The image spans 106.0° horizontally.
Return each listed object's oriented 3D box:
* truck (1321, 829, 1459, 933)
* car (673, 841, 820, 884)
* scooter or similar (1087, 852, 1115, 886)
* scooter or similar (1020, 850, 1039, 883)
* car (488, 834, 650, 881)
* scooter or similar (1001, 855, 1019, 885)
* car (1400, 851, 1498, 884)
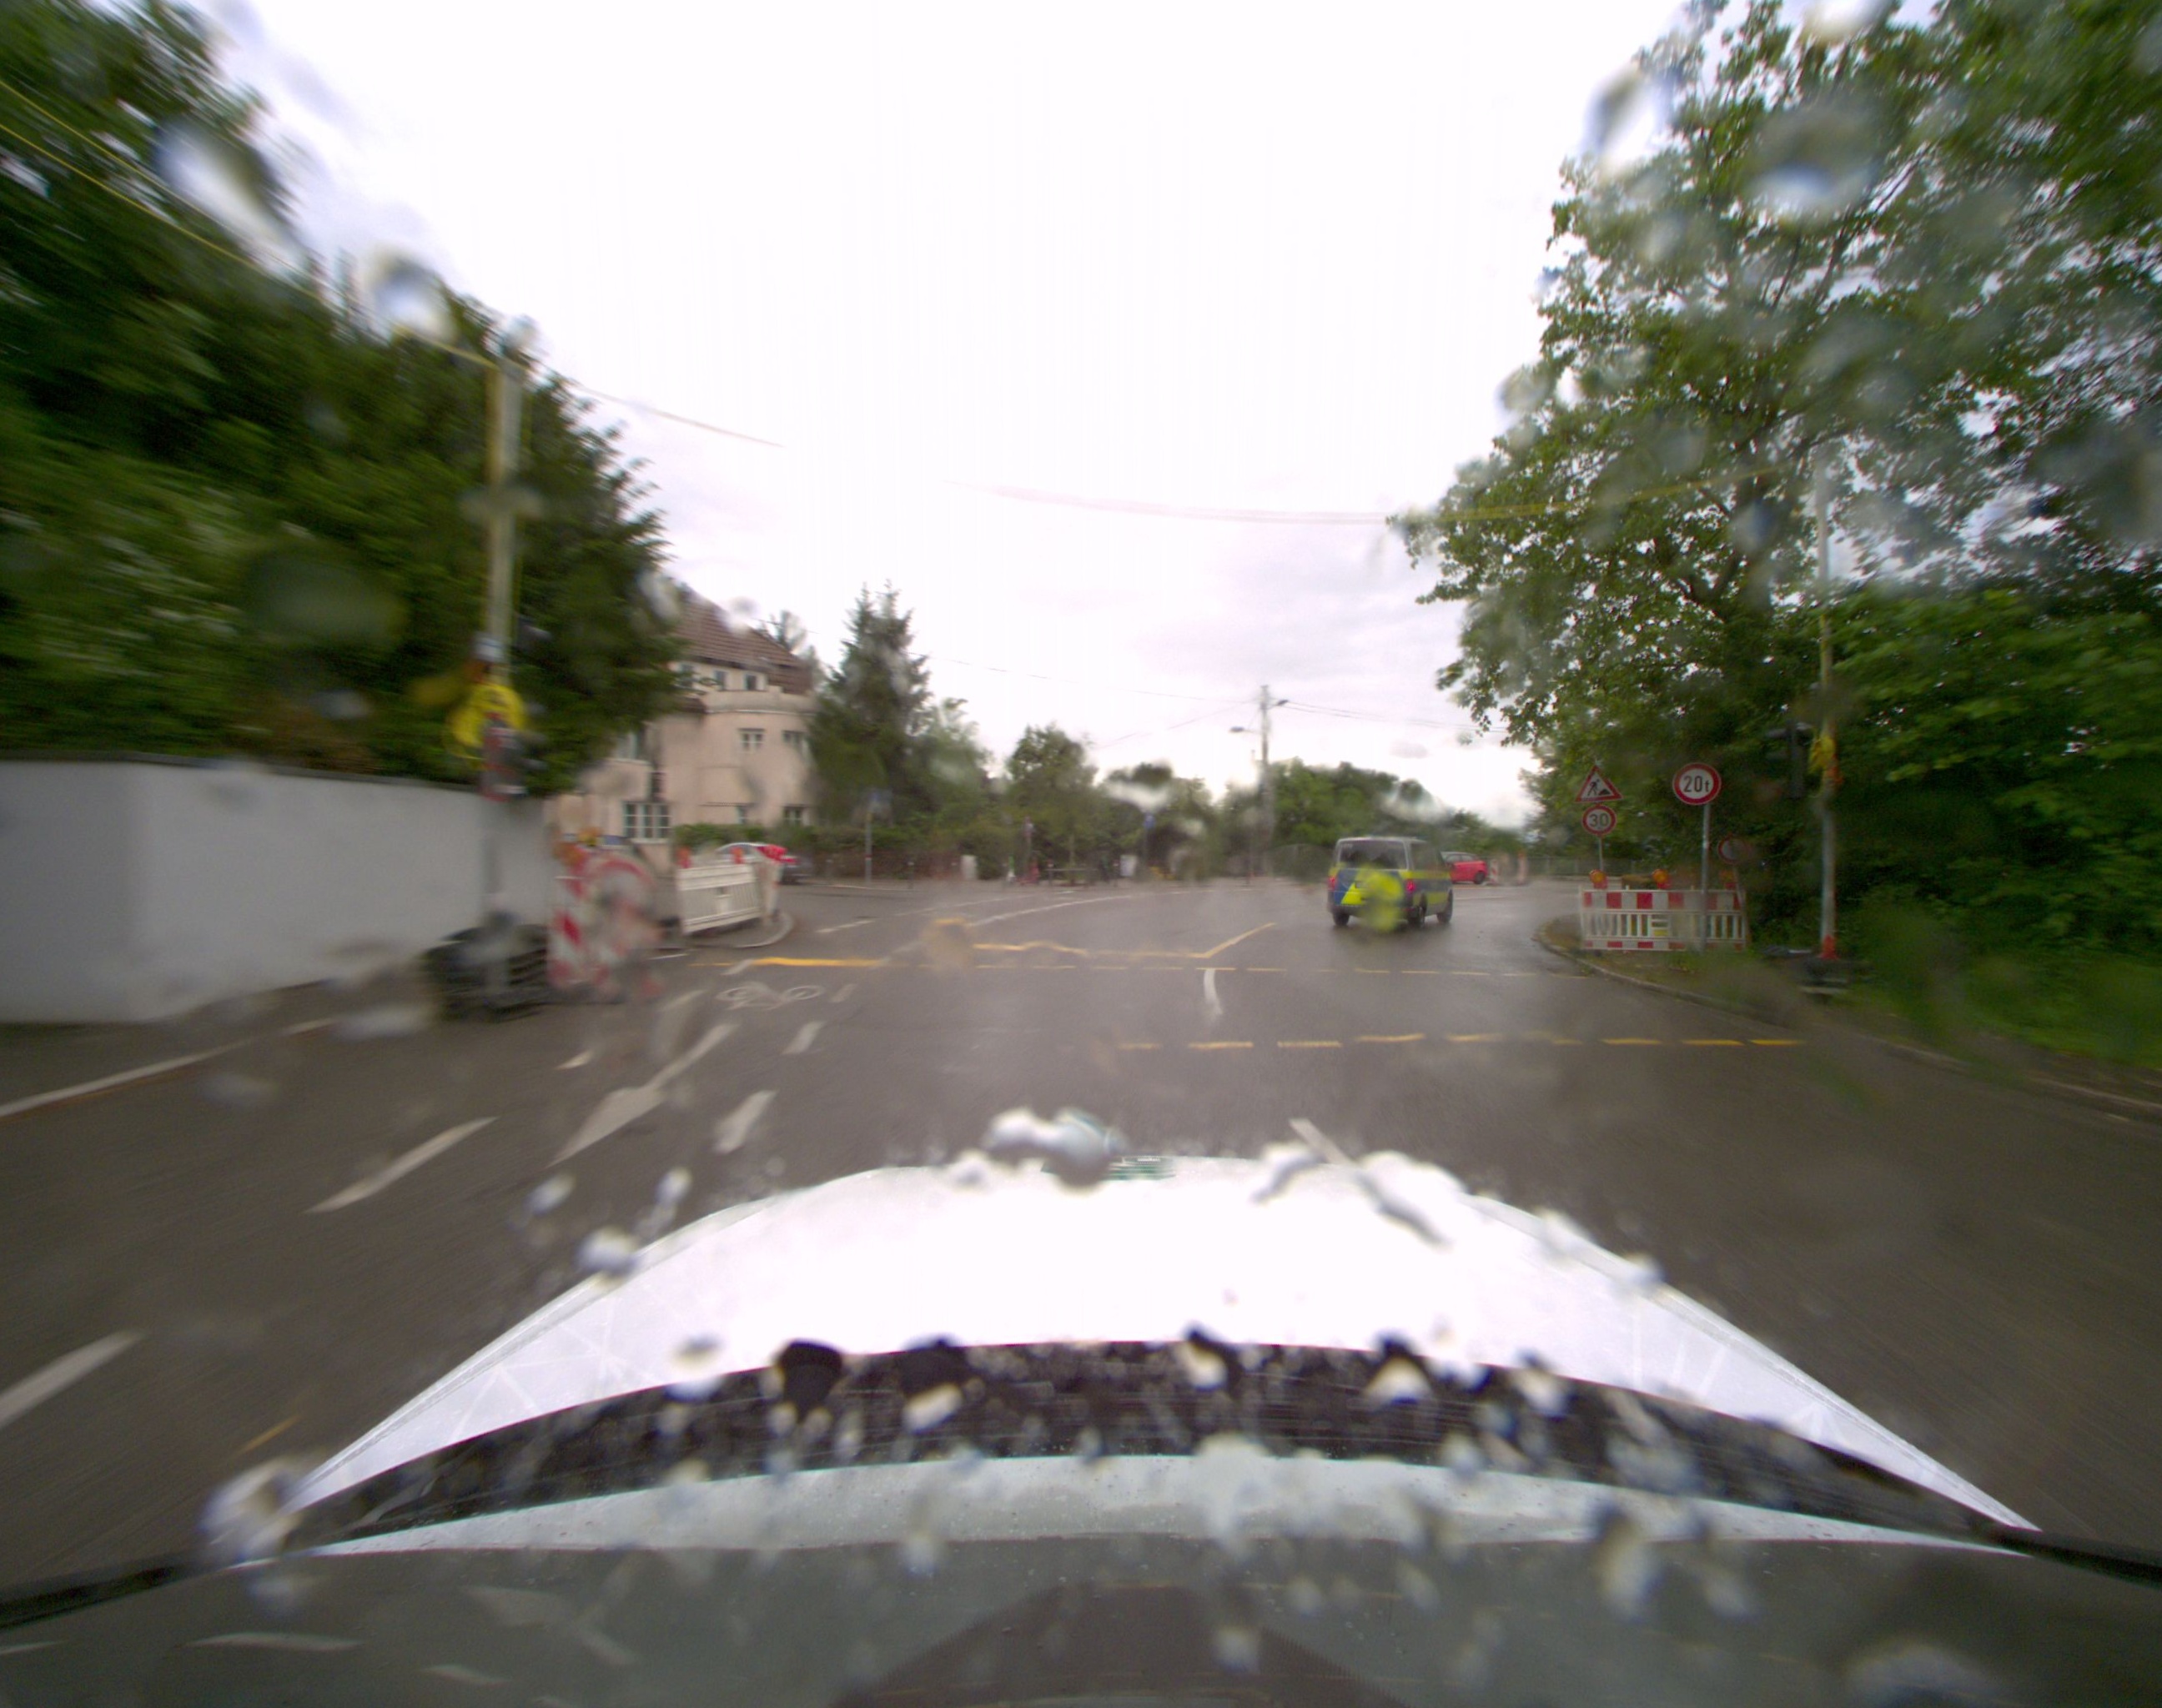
[{"bbox_3d":[7.171,0.538,18.567,1.974,2.013,4.764,2,0,33],"label":"truck"},{"bbox_3d":[-11.130,0.275,27.232,4.173,1.266,1.677,2,0,2],"label":"car"},{"bbox_3d":[0.734,0.558,30.444,1.024,1.218,0.245,2,0,32],"label":"scooter or similar"},{"bbox_3d":[-1.866,0.431,29.343,0.244,1.164,1.027,1,0,-29],"label":"scooter or similar"},{"bbox_3d":[-16.886,0.101,27.035,4.186,1.402,1.671,2,0,-7],"label":"car"},{"bbox_3d":[-2.572,0.574,29.387,0.244,1.069,1.028,1,0,-27],"label":"scooter or similar"},{"bbox_3d":[17.109,0.623,37.888,4.136,1.398,1.680,1,0,-20],"label":"car"}]
